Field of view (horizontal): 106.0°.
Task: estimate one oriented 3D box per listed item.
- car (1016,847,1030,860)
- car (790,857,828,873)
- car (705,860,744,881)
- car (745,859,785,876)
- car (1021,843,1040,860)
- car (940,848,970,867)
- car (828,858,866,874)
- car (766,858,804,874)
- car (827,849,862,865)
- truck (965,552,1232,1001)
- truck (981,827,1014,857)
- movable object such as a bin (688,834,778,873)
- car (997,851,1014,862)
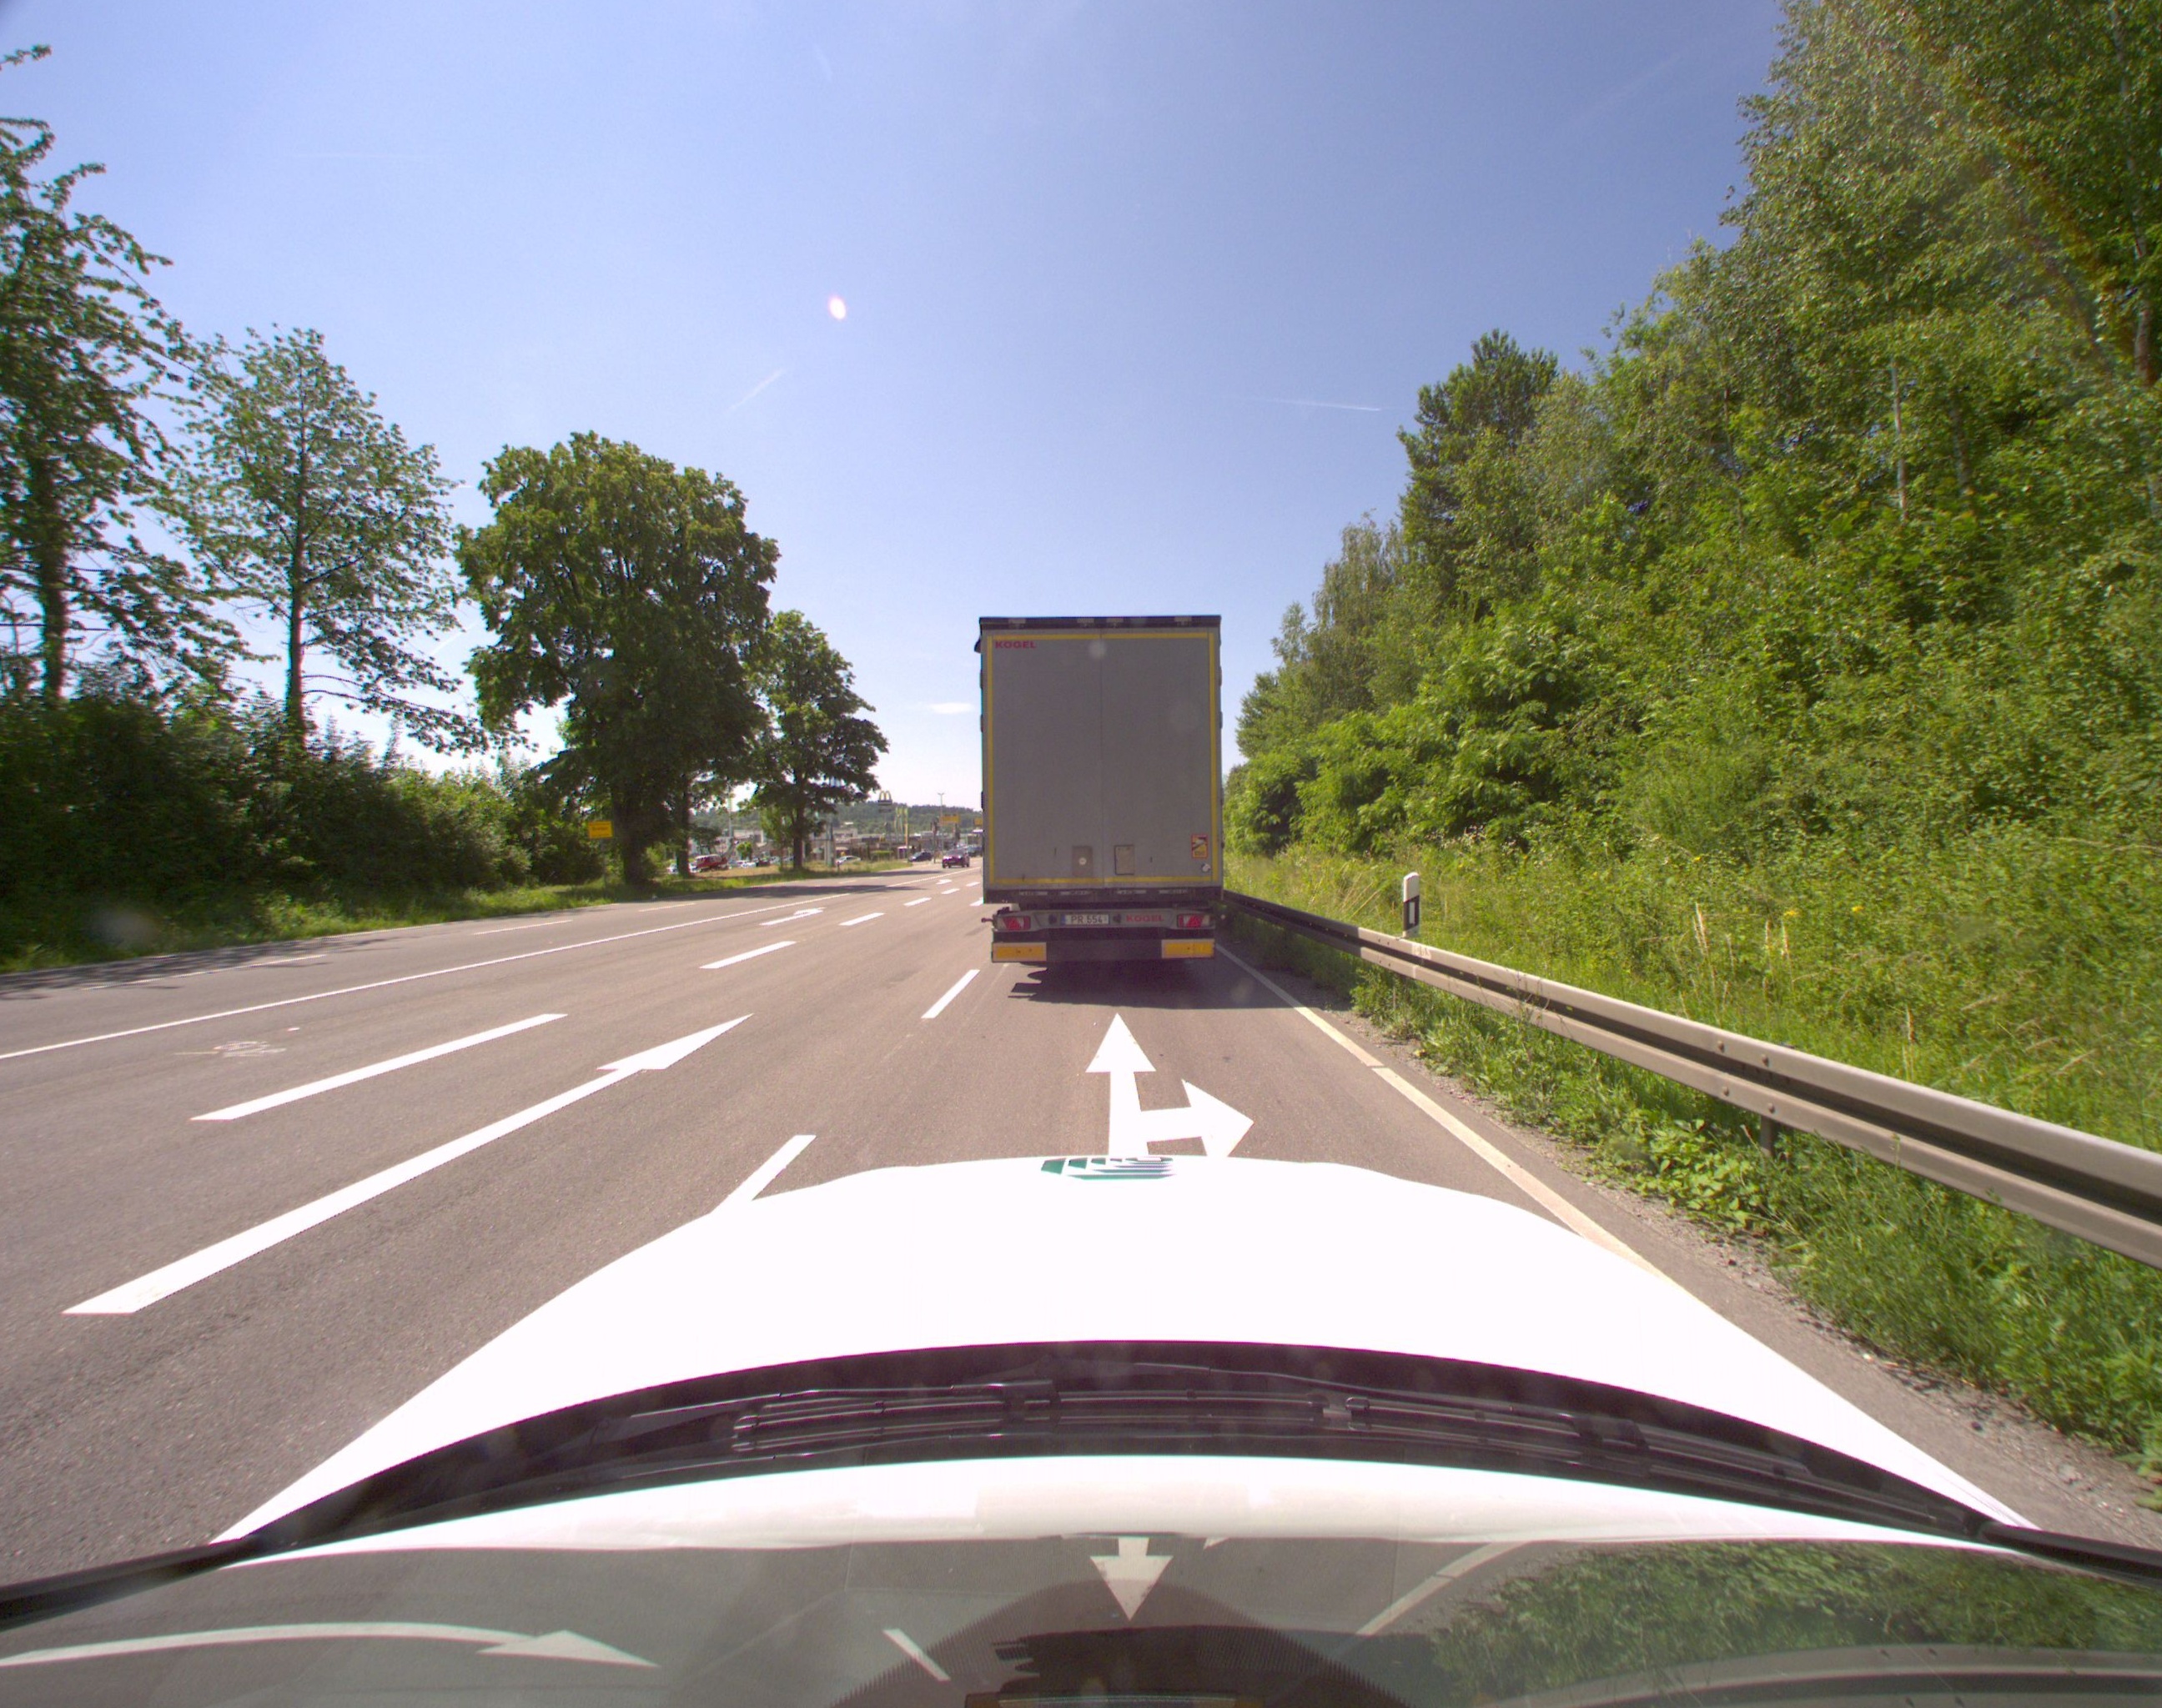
[{"bbox_3d":[-8.191,-0.114,115.604,1.714,1.753,3.857,-1,0,1],"label":"car"},{"bbox_3d":[-28.638,1.188,85.718,3.948,1.618,1.852,-1,0,38],"label":"car"},{"bbox_3d":[-34.578,1.591,78.973,3.949,2.013,2.012,-1,0,42],"label":"car"},{"bbox_3d":[-31.727,1.352,81.737,3.948,1.651,2.013,-1,0,38],"label":"car"},{"bbox_3d":[-6.218,-0.313,100.722,1.986,2.013,4.001,0,0,1],"label":"car"},{"bbox_3d":[-10.406,0.260,67.324,1.897,1.508,3.763,-1,0,-1],"label":"car"},{"bbox_3d":[-25.036,1.305,87.088,3.948,1.618,1.852,-1,0,38],"label":"car"},{"bbox_3d":[-30.381,1.238,83.604,3.948,1.618,1.852,-1,0,38],"label":"car"},{"bbox_3d":[-31.412,0.382,108.373,1.974,2.013,4.026,-1,0,37],"label":"car"},{"bbox_3d":[0.443,-0.749,16.745,2.745,4.639,16.661,0,0,2],"label":"truck"},{"bbox_3d":[-12.655,-1.751,125.067,2.958,4.176,16.576,-1,0,1],"label":"truck"},{"bbox_3d":[-31.612,-0.101,74.170,3.013,3.298,6.835,-1,1,41],"label":"movable object such as a bin"},{"bbox_3d":[-9.622,0.277,104.185,1.761,1.386,3.999,0,0,0],"label":"car"}]
